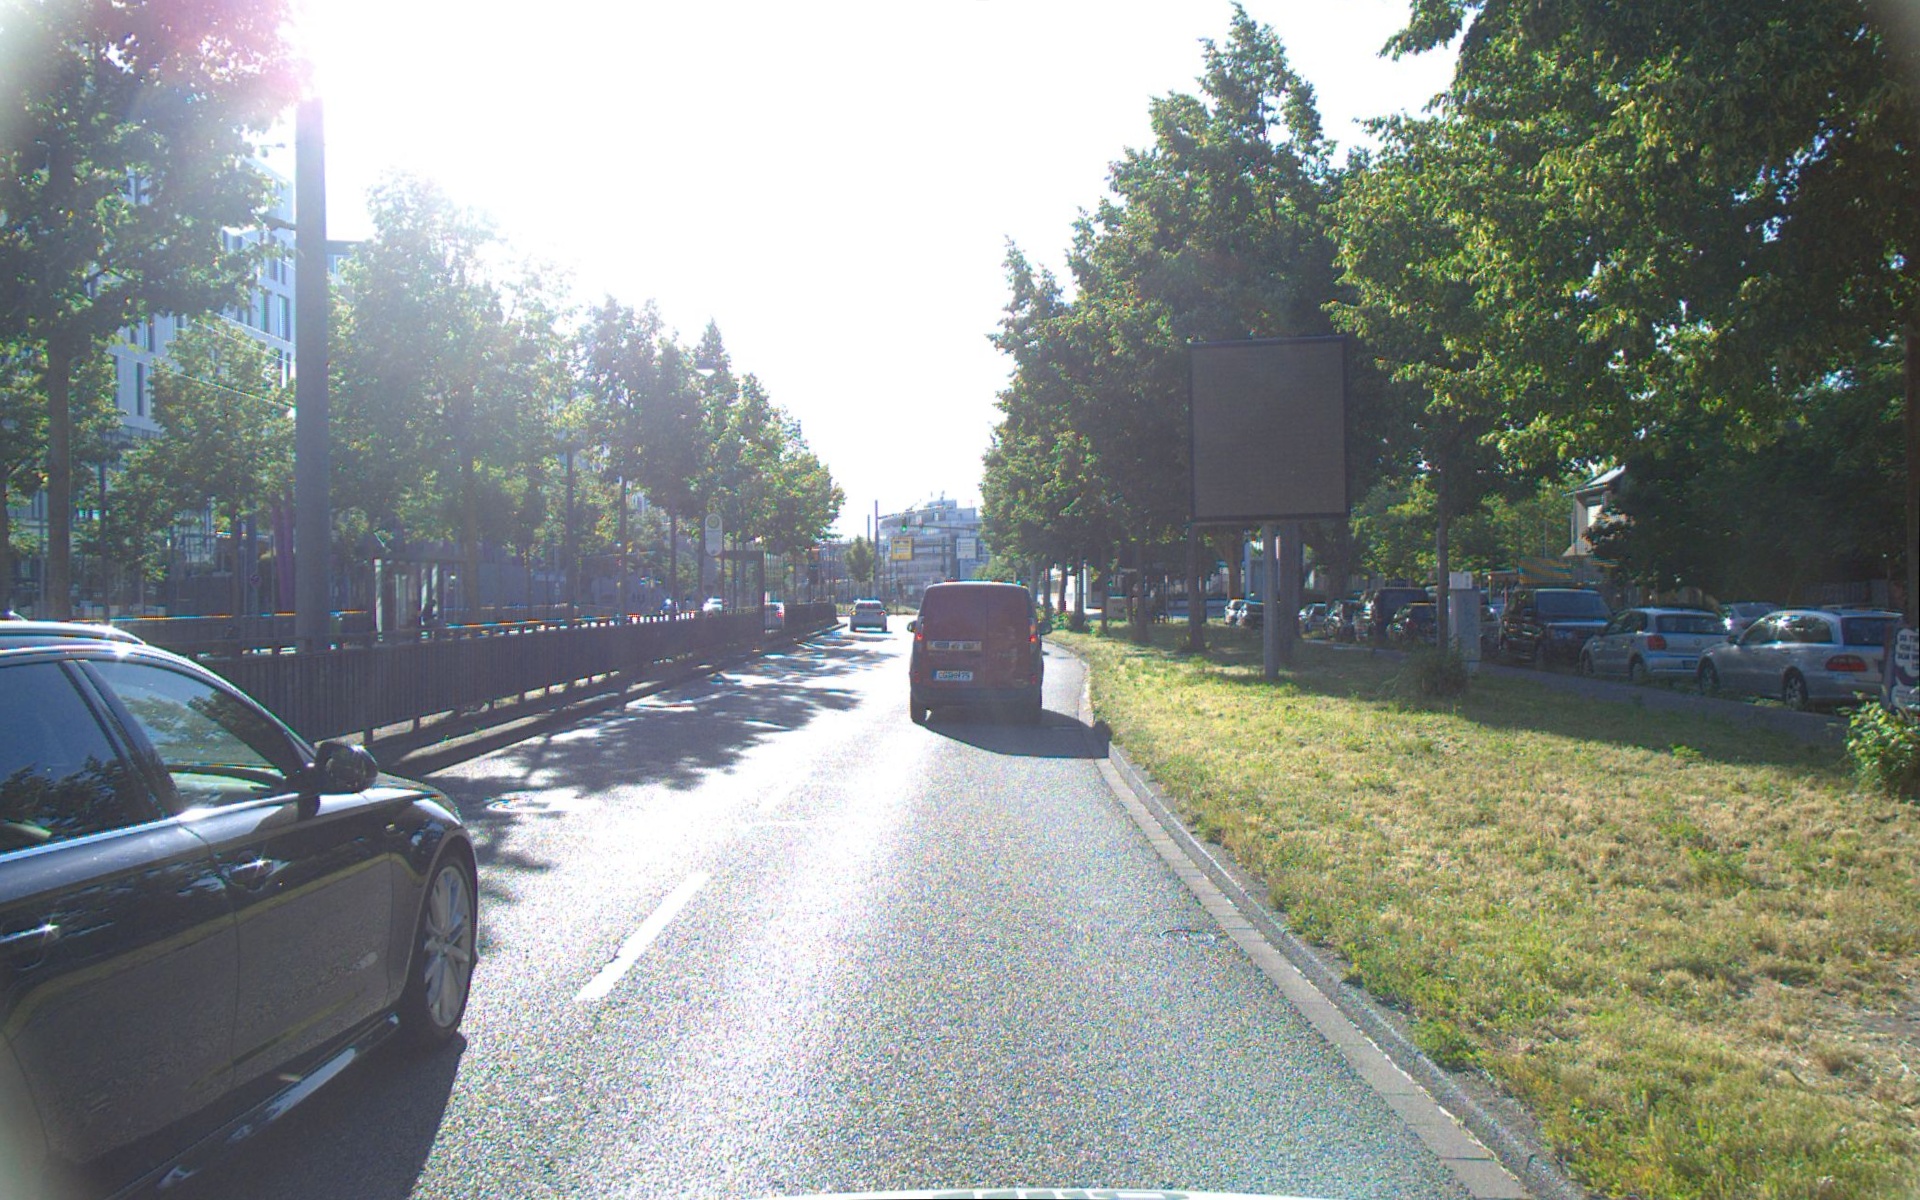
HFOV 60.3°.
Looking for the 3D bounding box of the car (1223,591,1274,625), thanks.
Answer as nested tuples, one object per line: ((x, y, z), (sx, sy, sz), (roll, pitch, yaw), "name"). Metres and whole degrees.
((15.226, 0.433, 87.496), (1.833, 1.713, 3.998), (1, -1, -2), "car")

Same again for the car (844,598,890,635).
((-4.346, 0.762, 77.886), (1.953, 1.646, 3.999), (1, -1, -1), "car")

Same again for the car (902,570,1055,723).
((0.161, 0.599, 22.704), (1.773, 1.870, 3.997), (1, -1, -4), "car")

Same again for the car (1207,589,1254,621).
((15.035, 0.305, 92.022), (1.833, 1.713, 3.999), (1, -1, -1), "car")

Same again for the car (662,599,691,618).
((-28.310, 0.870, 165.223), (1.952, 1.795, 4.001), (1, -1, 3), "car")

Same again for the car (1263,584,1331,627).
((13.916, 0.230, 68.475), (1.833, 1.713, 3.998), (-1, 0, -2), "car")

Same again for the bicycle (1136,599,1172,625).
((9.936, 0.629, 84.807), (1.742, 1.290, 0.479), (1, -1, 0), "bicycle")

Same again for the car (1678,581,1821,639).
((22.407, 0.286, 47.153), (1.833, 1.509, 4.690), (-2, -1, 0), "car")

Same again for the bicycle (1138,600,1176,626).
((10.020, 0.650, 84.257), (1.878, 1.290, 0.479), (0, 0, 0), "bicycle")

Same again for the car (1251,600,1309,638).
((15.146, 0.892, 78.546), (1.833, 1.713, 3.998), (1, -1, -2), "car")

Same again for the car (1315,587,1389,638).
((13.955, 0.450, 59.057), (1.832, 1.713, 4.001), (1, -1, 3), "car")

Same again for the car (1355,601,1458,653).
((12.849, 0.761, 47.796), (1.833, 1.391, 3.999), (1, -1, -1), "car")

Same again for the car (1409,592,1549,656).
((12.677, 0.575, 40.743), (1.833, 1.459, 4.901), (1, -1, -1), "car")

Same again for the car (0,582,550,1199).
((-2.550, 0.710, 3.660), (1.912, 1.506, 5.085), (1, 0, 1), "car")

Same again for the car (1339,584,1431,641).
((13.554, 0.403, 52.910), (1.833, 1.713, 3.999), (1, -1, -1), "car")

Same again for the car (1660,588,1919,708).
((12.284, 0.659, 24.396), (1.832, 1.551, 5.056), (1, -1, 1), "car")

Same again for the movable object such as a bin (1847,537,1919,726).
((11.493, 0.368, 18.490), (2.038, 2.049, 2.137), (1, -1, 3), "movable object such as a bin")

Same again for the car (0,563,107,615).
((-38.027, -0.433, 69.511), (1.953, 2.049, 4.563), (1, -1, 0), "car")

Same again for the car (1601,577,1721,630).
((22.363, 0.135, 52.967), (1.833, 1.574, 4.690), (-2, -1, 0), "car")

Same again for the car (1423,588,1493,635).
((22.950, 0.529, 76.376), (1.953, 2.049, 3.999), (-2, -1, -1), "car")

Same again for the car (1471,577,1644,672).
((12.588, 0.508, 35.199), (1.833, 1.852, 4.891), (1, -1, -1), "car")

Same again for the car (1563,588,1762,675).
((12.534, 0.544, 29.791), (1.833, 1.413, 3.999), (1, -1, -1), "car")
